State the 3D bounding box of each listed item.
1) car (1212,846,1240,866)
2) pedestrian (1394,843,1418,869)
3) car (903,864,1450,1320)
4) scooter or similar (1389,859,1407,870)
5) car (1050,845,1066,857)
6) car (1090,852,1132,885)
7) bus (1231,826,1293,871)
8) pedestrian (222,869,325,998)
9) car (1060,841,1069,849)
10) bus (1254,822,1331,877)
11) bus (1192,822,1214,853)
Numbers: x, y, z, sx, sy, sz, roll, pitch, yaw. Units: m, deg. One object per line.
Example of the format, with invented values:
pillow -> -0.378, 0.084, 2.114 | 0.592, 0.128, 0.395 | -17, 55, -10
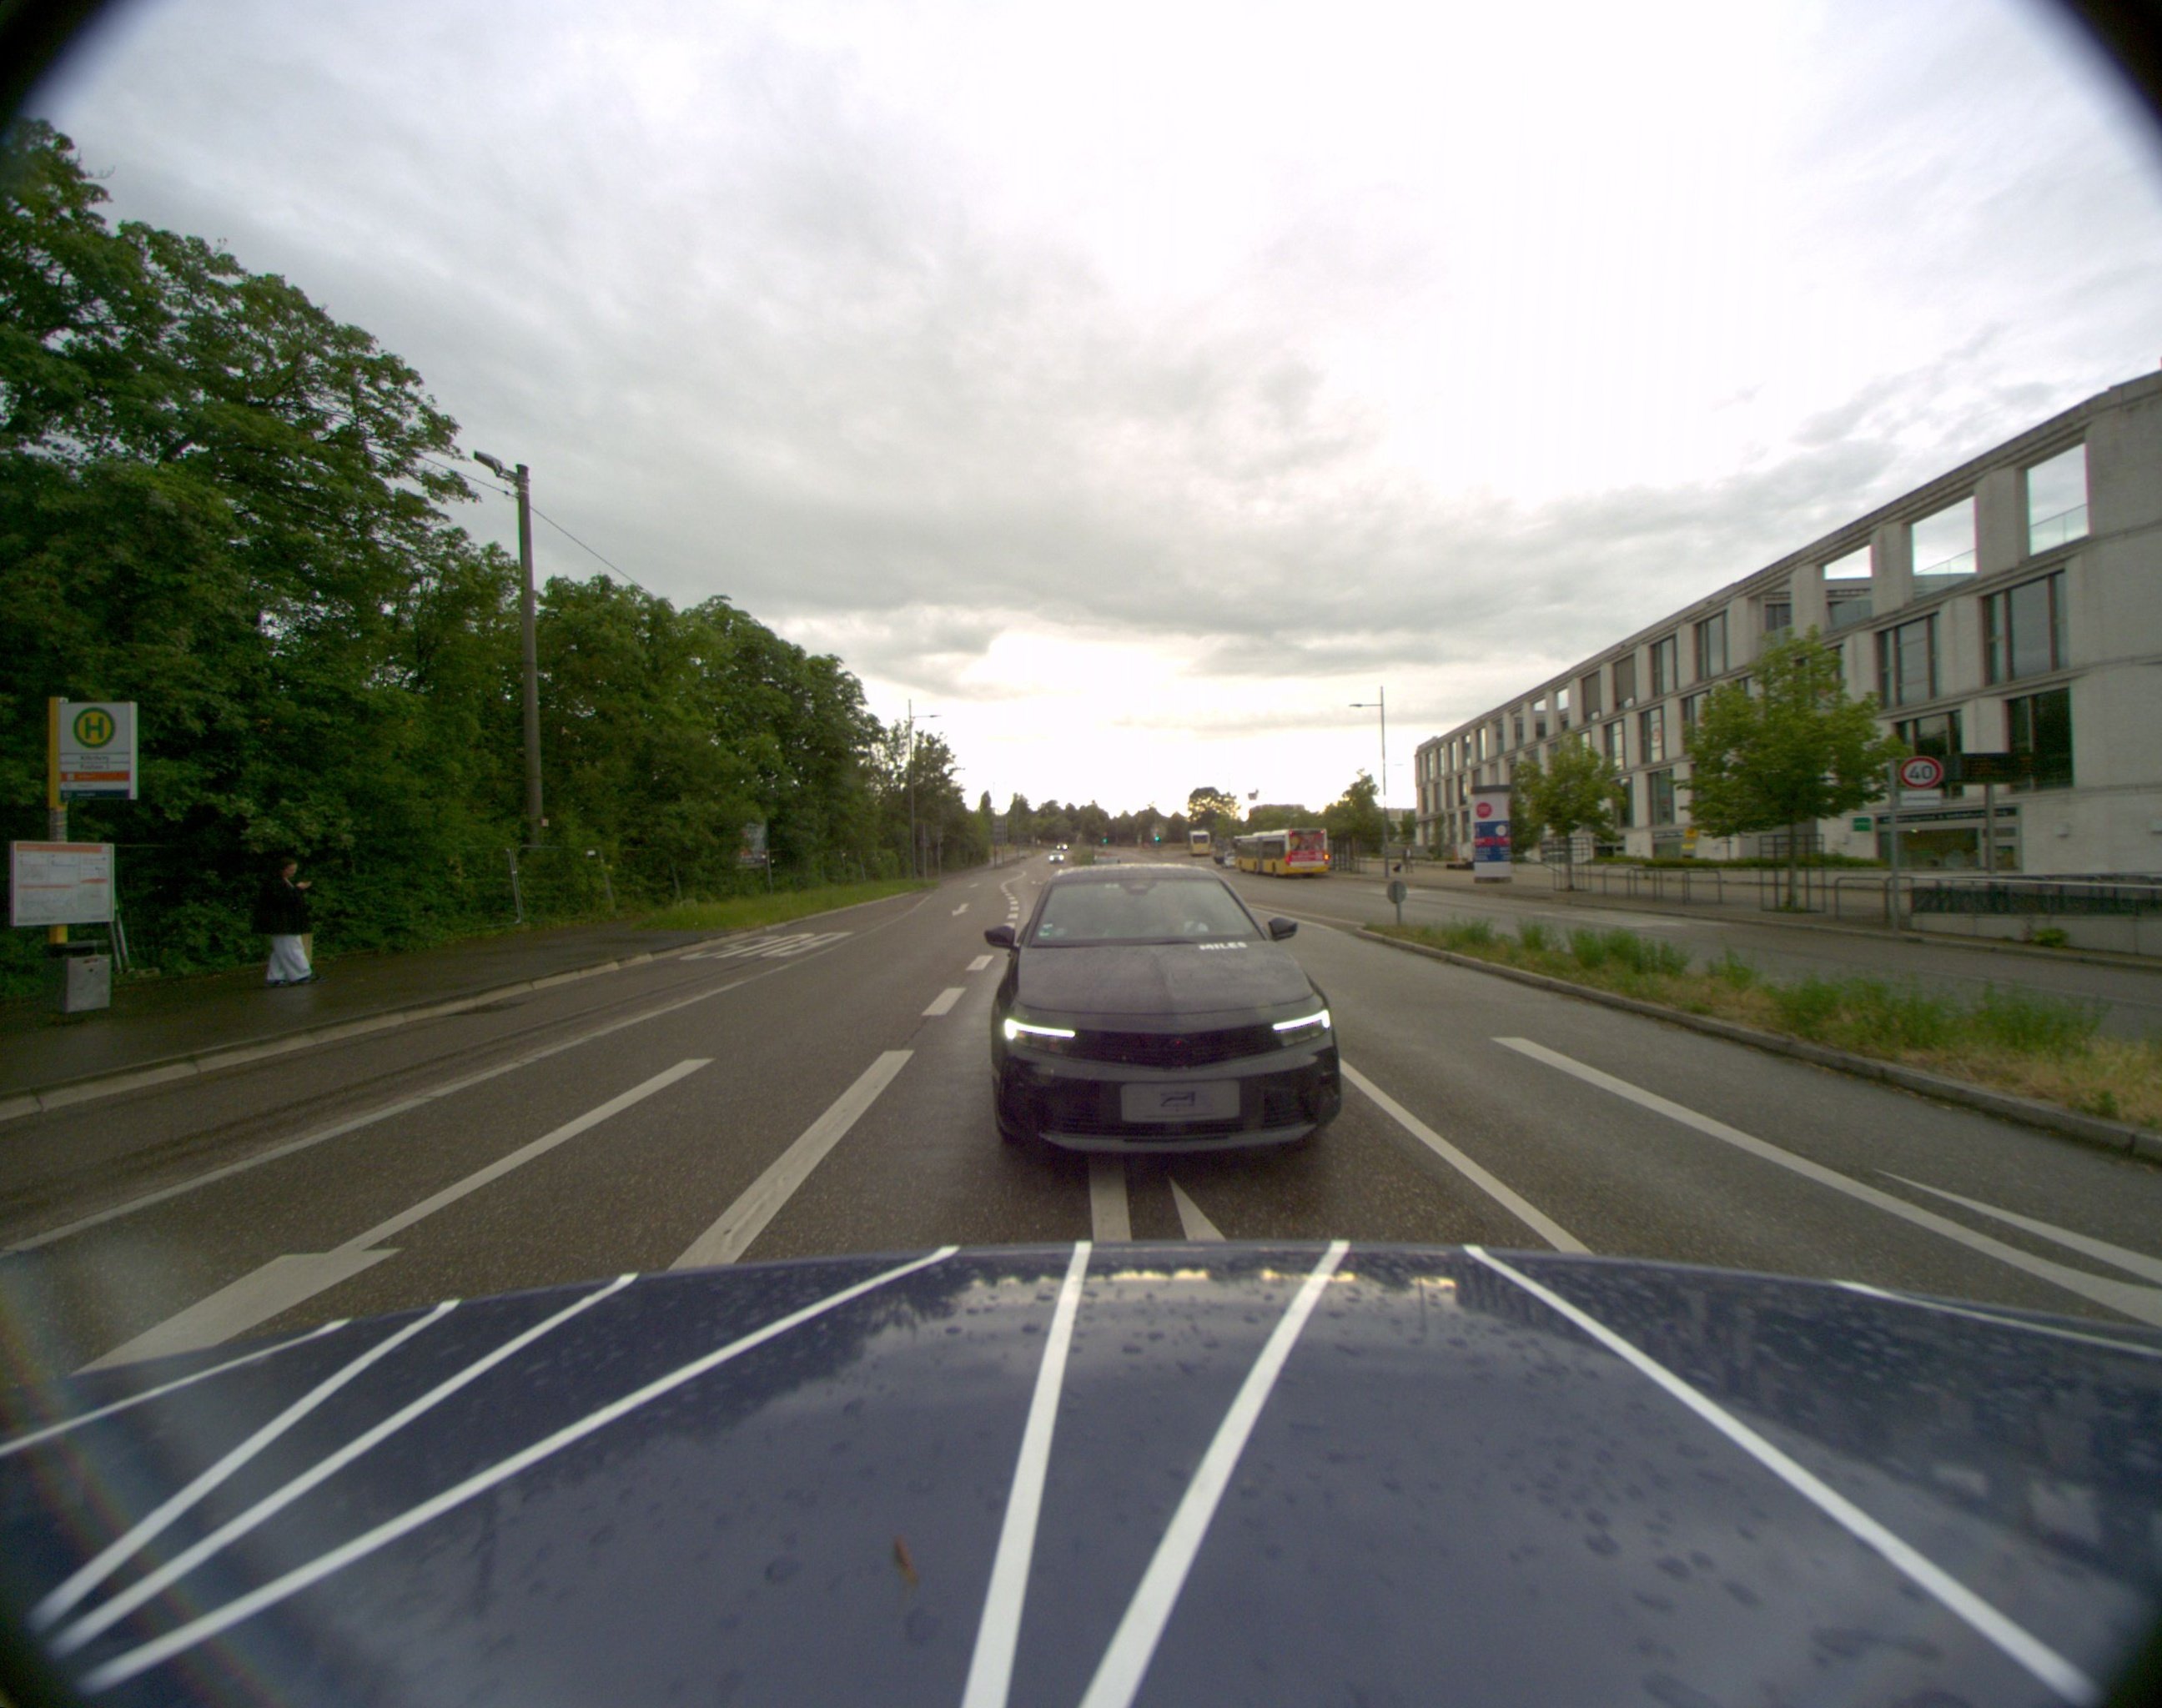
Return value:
car -> 13.578, 0.159, 71.508 | 1.867, 1.777, 3.999 | -2, 1, 1
pedestrian -> 19.909, 0.131, 46.495 | 0.868, 1.572, 0.981 | -3, 1, -29
car -> 0.376, 0.891, 5.100 | 1.901, 1.456, 4.767 | -2, 1, 1
scooter or similar -> 19.392, 0.636, 46.486 | 0.830, 0.648, 0.642 | 0, 1, 38
car -> -2.984, -0.397, 96.695 | 1.901, 1.524, 4.766 | -2, 1, -3
car -> 1.408, 0.663, 36.735 | 1.631, 1.473, 3.504 | -1, 1, -4
bus -> 14.112, -0.452, 60.040 | 2.693, 3.163, 9.912 | -2, 1, 2
pedestrian -> -10.550, 1.013, 9.950 | 0.588, 1.618, 0.661 | -1, 1, 1
car -> -3.840, -2.015, 172.967 | 1.934, 1.649, 4.617 | -1, 0, -2
bus -> 13.821, -0.313, 50.535 | 2.759, 3.194, 9.207 | -2, 1, 2
bus -> 18.455, -2.432, 114.342 | 2.757, 4.129, 19.357 | -2, 1, 10
